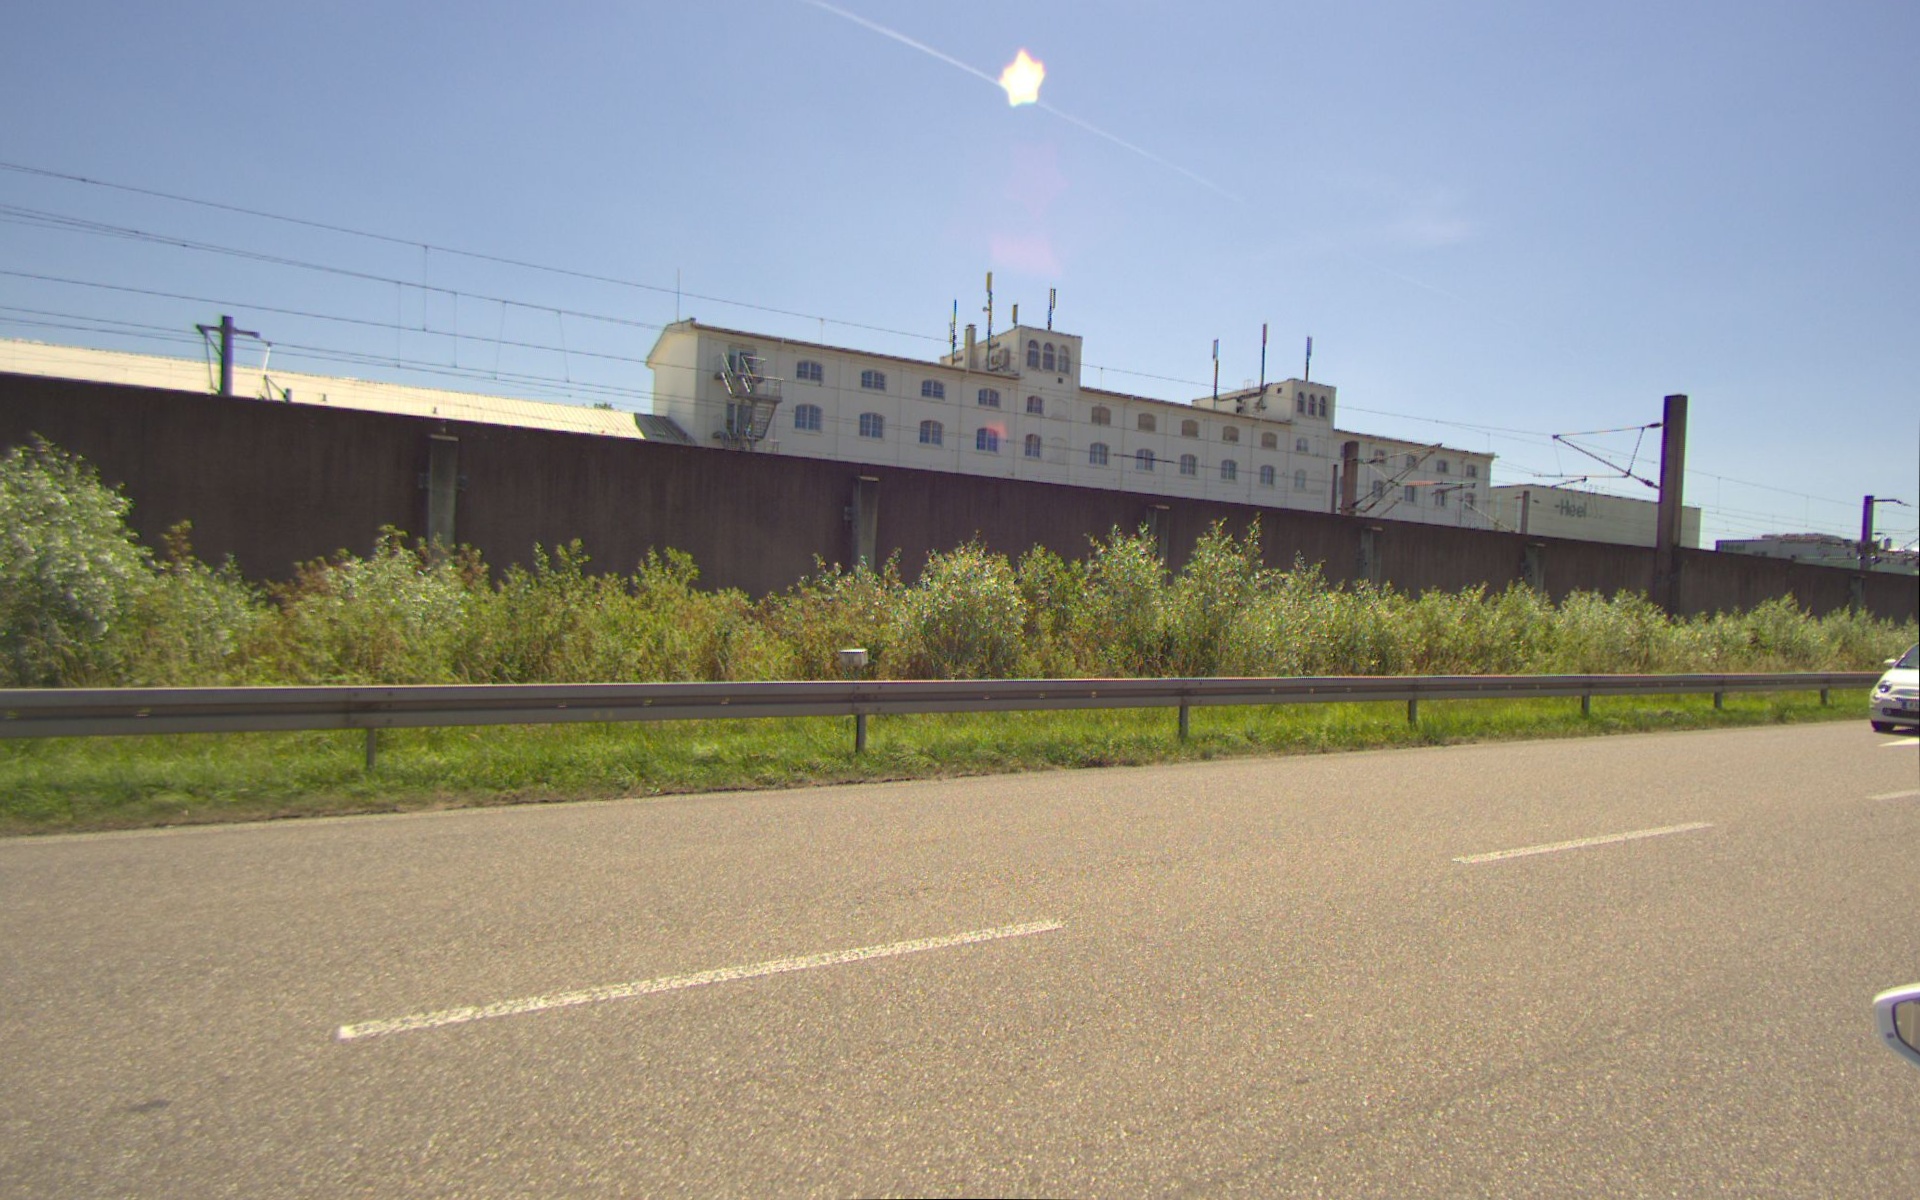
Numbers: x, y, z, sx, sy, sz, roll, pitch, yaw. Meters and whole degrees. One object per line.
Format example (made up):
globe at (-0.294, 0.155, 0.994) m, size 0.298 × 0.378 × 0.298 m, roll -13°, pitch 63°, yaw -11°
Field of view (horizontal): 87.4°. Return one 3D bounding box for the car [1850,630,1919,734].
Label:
car at (15.866, 1.283, 15.856) m, size 3.679 × 1.522 × 1.664 m, roll 2°, pitch 0°, yaw -31°
